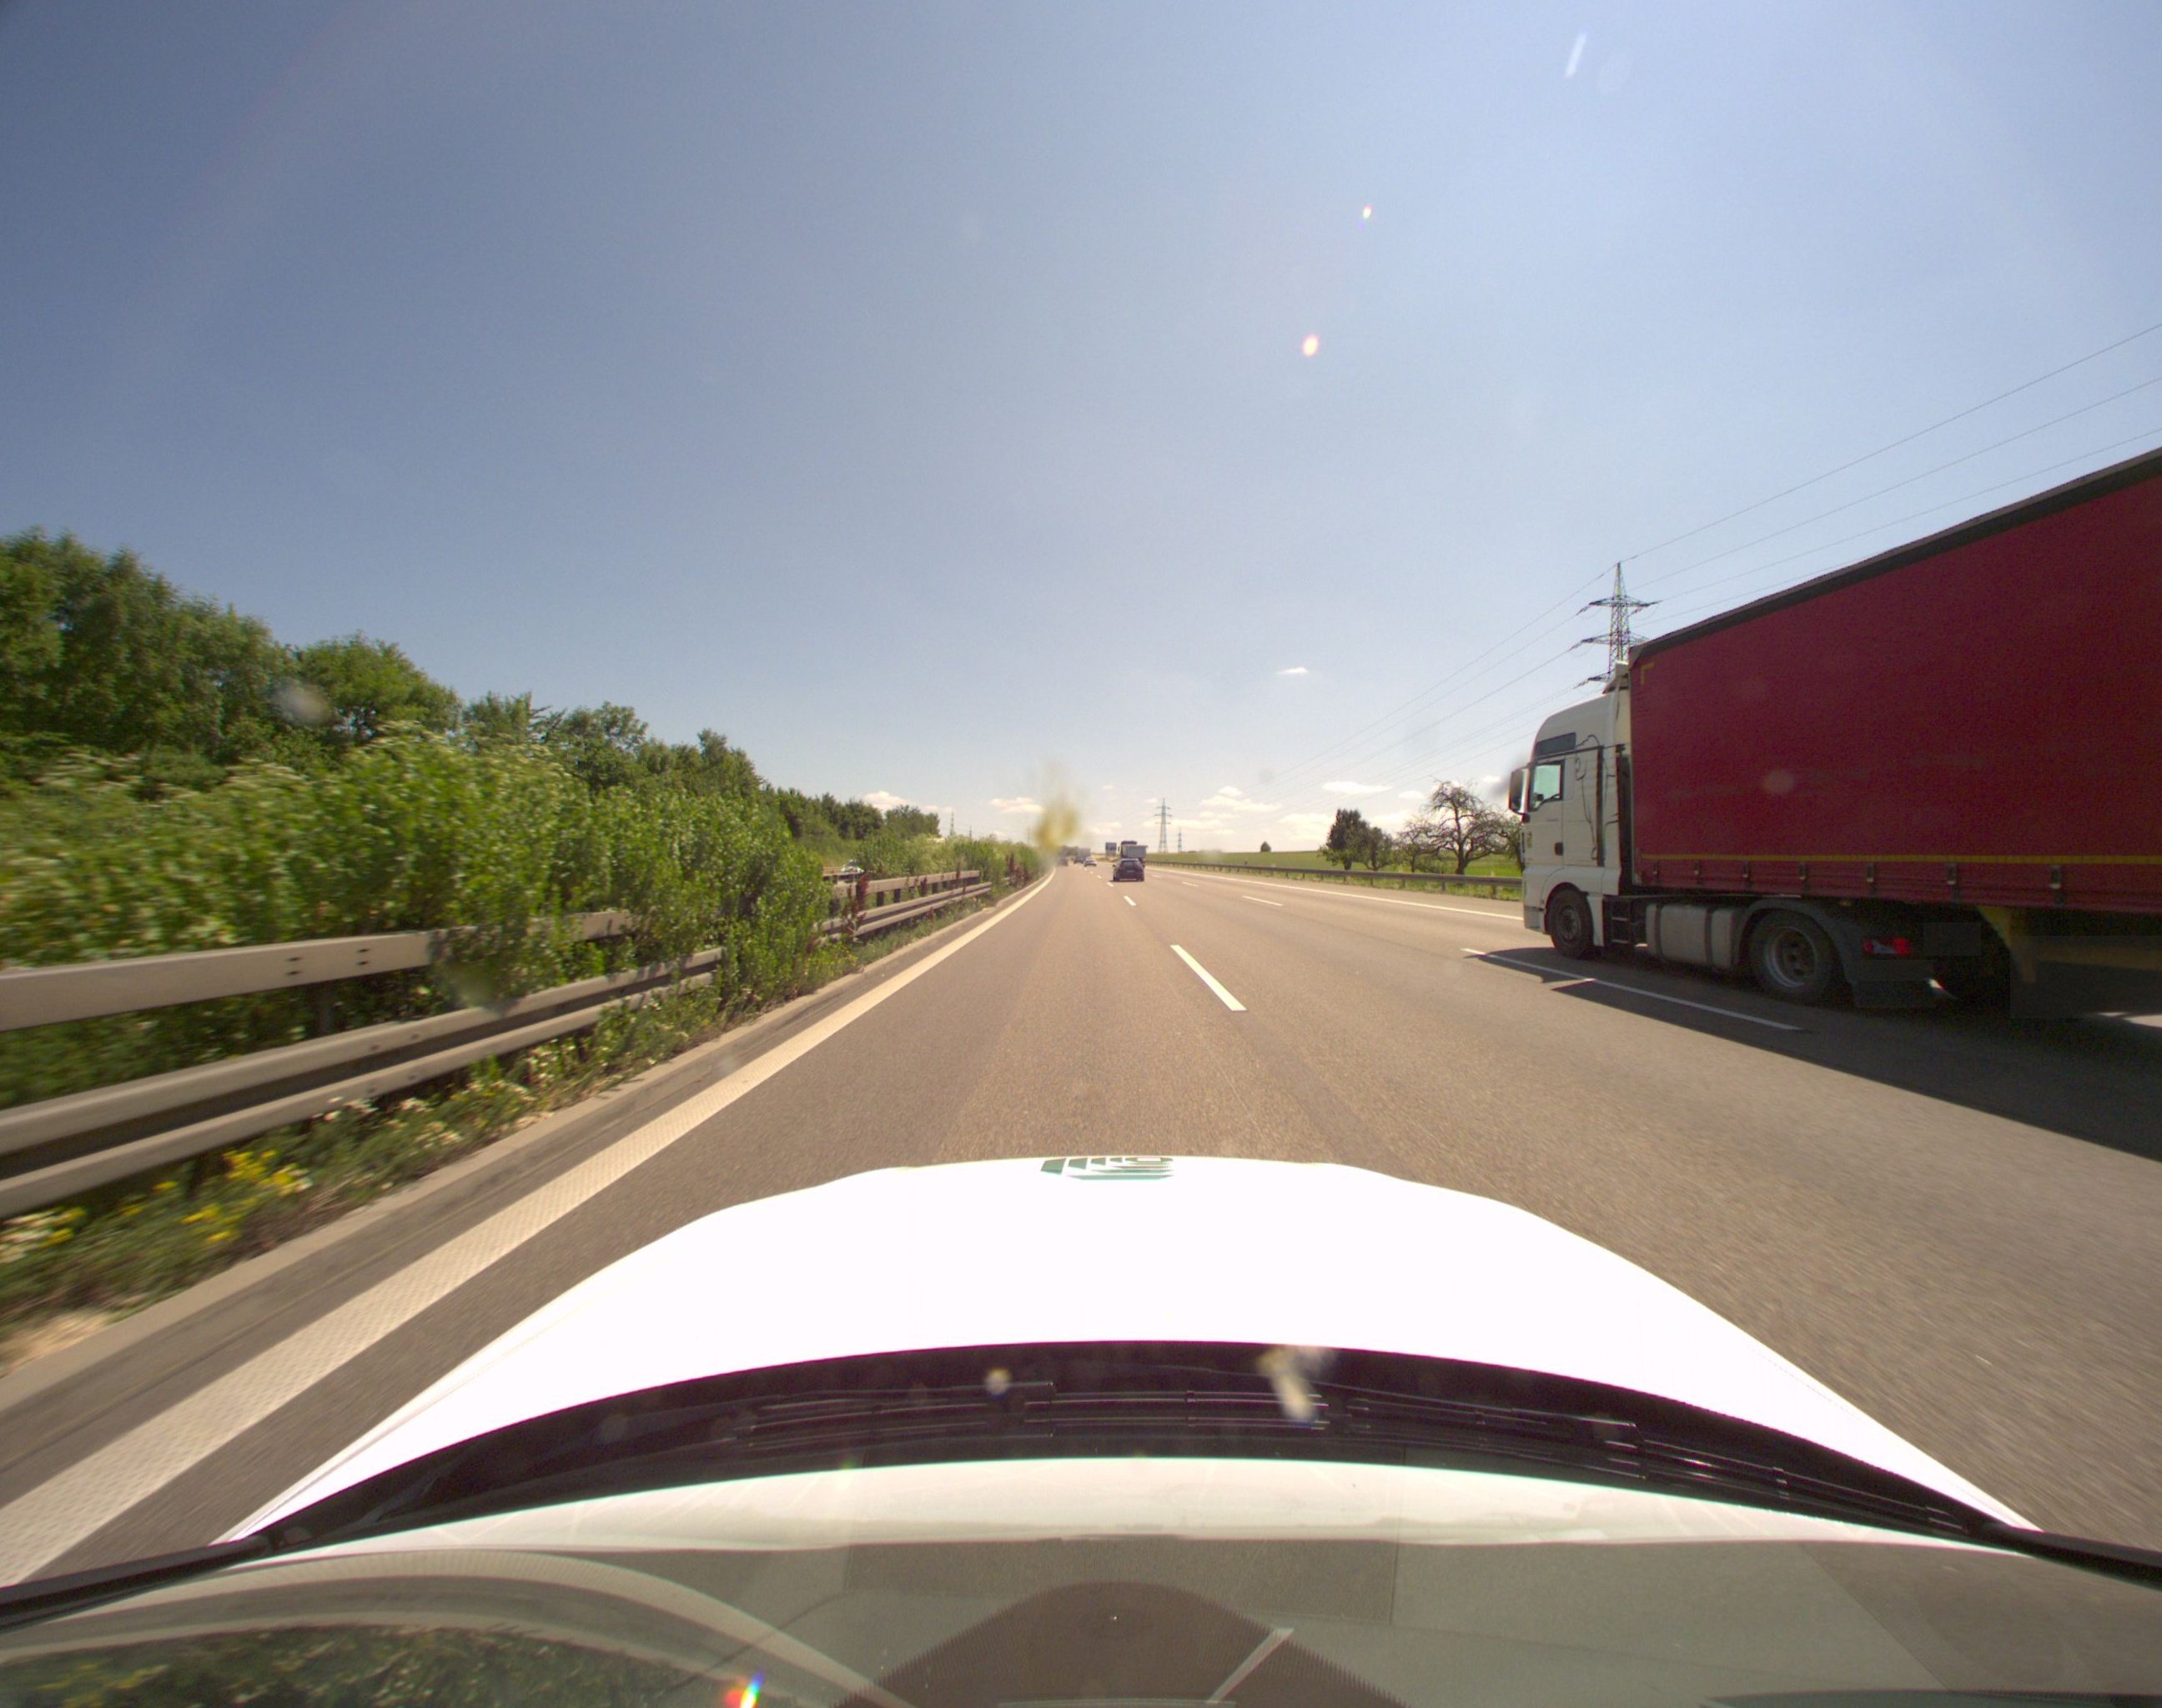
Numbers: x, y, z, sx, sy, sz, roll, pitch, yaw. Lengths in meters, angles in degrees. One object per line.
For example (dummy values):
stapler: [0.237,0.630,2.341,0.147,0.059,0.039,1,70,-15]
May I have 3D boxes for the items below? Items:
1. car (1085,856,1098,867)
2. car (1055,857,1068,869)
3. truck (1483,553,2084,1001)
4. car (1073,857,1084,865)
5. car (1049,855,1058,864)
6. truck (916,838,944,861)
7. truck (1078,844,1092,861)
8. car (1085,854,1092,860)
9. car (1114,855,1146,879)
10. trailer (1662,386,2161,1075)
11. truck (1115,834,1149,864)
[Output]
car: [1.649,1.175,127.347,1.815,1.541,3.910,-1,0,-3]
car: [-3.075,1.461,128.482,1.989,1.860,3.996,0,-1,-2]
truck: [8.071,-0.705,10.706,2.552,4.154,6.249,0,0,1]
car: [-0.537,1.425,166.384,1.836,1.541,3.908,-1,0,-5]
car: [-6.032,1.235,179.448,1.897,1.926,3.996,-1,0,-3]
truck: [-18.908,-0.563,102.357,2.681,2.748,4.643,-1,-1,-1]
truck: [1.008,-0.289,204.692,3.213,3.924,9.051,0,-1,-2]
car: [2.340,0.838,250.385,1.988,1.853,3.997,-1,0,-1]
car: [3.138,0.831,52.515,1.751,1.429,3.997,-1,0,-1]
trailer: [7.931,-0.785,2.966,2.591,4.264,13.036,0,0,1]
truck: [6.857,-0.600,111.262,2.860,3.724,12.742,-1,0,-4]
